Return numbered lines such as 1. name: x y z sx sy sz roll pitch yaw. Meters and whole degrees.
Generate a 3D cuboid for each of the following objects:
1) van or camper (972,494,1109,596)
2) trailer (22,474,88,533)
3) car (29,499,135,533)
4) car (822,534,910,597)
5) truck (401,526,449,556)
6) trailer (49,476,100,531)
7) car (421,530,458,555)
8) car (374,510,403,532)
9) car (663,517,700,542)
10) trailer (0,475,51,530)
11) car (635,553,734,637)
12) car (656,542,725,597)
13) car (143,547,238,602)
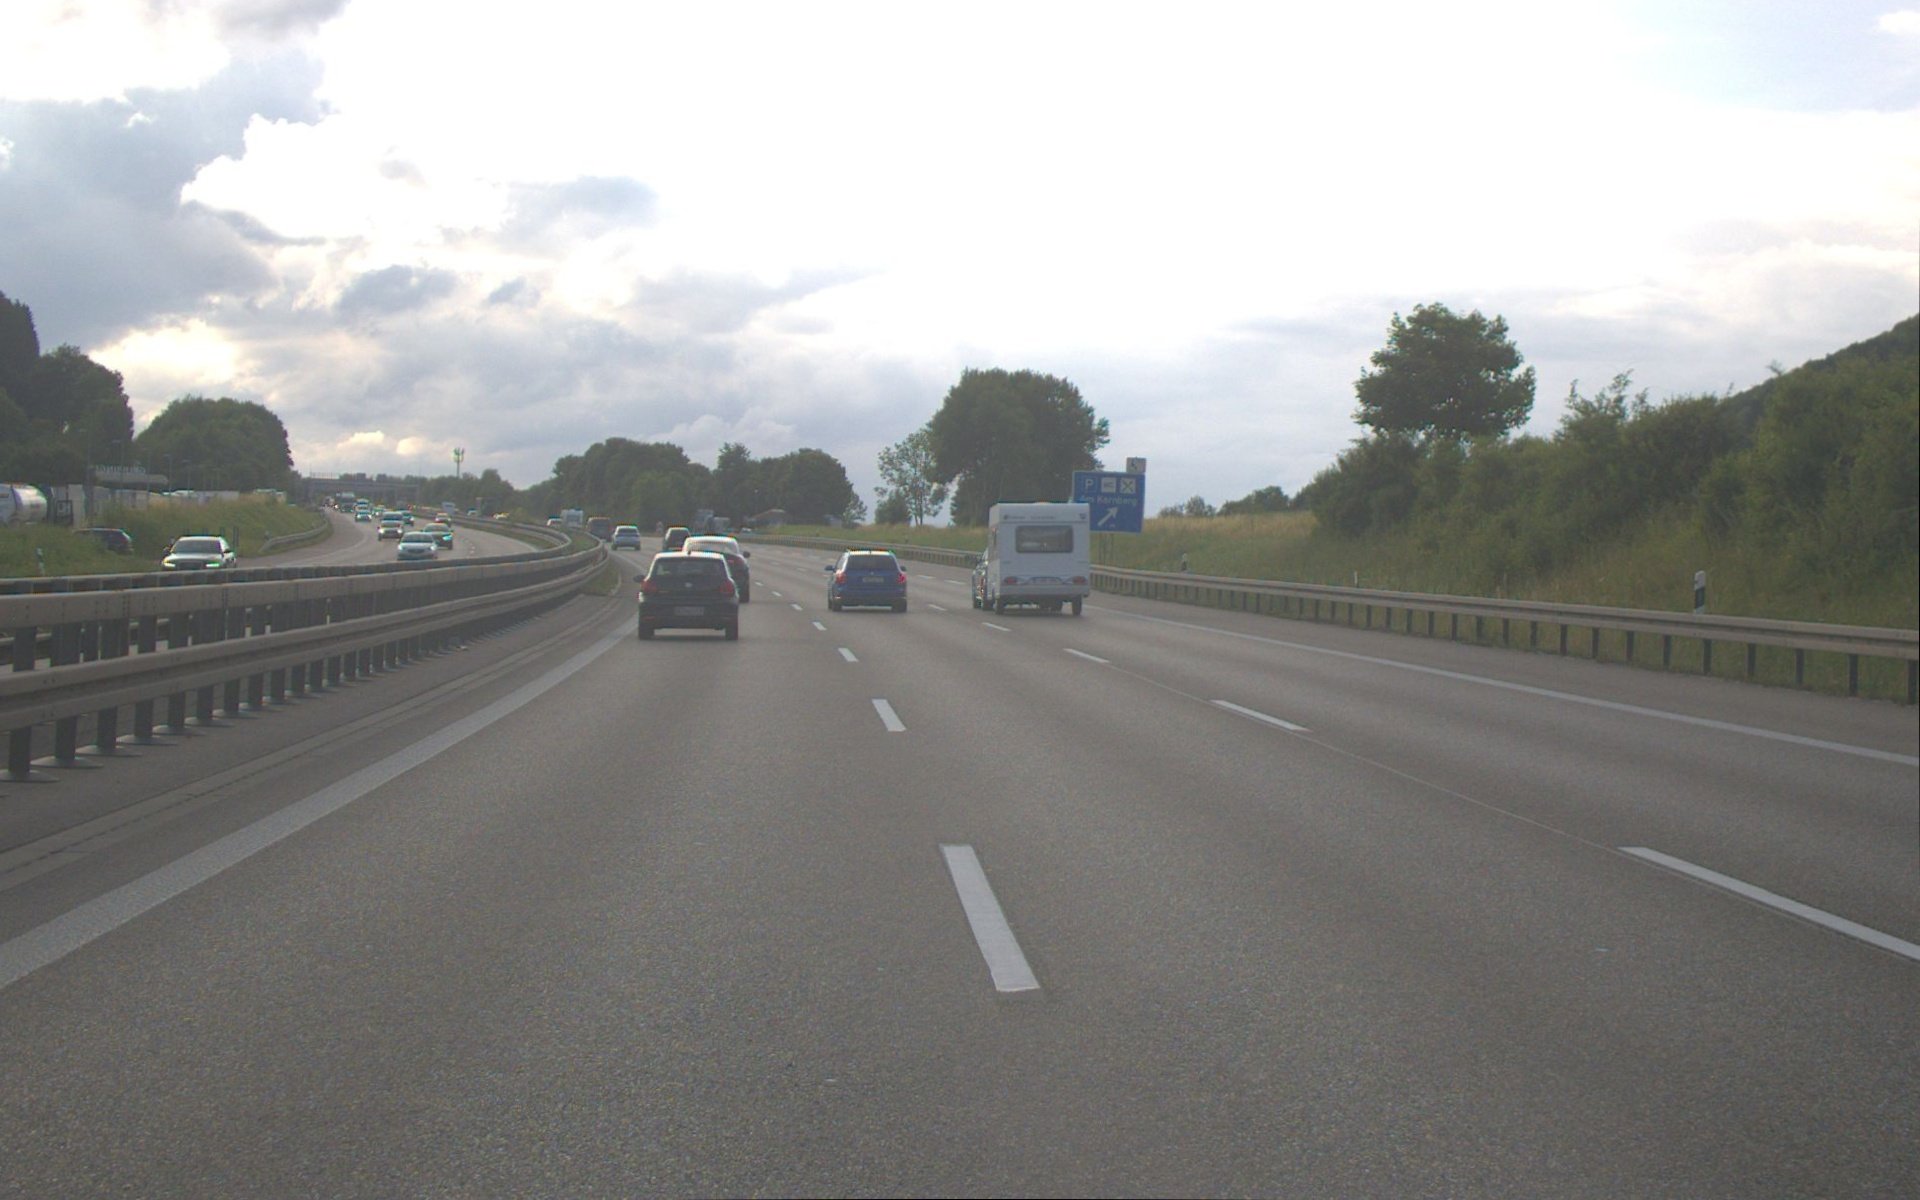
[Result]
1. van or camper: 1.796 -1.243 78.897 2.547 2.232 5.330 1 0 -5
2. trailer: -58.544 -6.190 222.577 2.876 3.683 13.680 0 1 -10
3. car: -40.013 -3.836 156.717 4.602 1.546 2.001 0 1 -16
4. car: -2.254 -0.838 81.323 1.766 1.428 4.001 -1 1 -6
5. truck: -25.133 -2.799 161.740 1.993 1.360 4.647 1 1 -6
6. trailer: -62.973 -6.786 244.605 2.876 3.683 13.681 -1 1 -12
7. car: -31.694 -3.499 209.428 1.993 1.492 4.693 -1 1 -6
8. car: -41.281 -5.691 248.253 1.993 1.492 4.693 -2 1 -9
9. car: -18.188 -4.606 224.888 1.957 1.568 4.000 1 0 2
10. trailer: -54.521 -5.580 198.535 2.578 2.844 12.266 1 0 -9
11. car: -4.616 -0.095 57.903 1.538 1.343 3.677 1 0 -3
12. car: -7.068 -0.806 89.950 1.565 1.375 4.001 -1 1 -7
13. car: -23.254 -0.754 104.026 1.993 1.481 3.999 -1 -2 0
